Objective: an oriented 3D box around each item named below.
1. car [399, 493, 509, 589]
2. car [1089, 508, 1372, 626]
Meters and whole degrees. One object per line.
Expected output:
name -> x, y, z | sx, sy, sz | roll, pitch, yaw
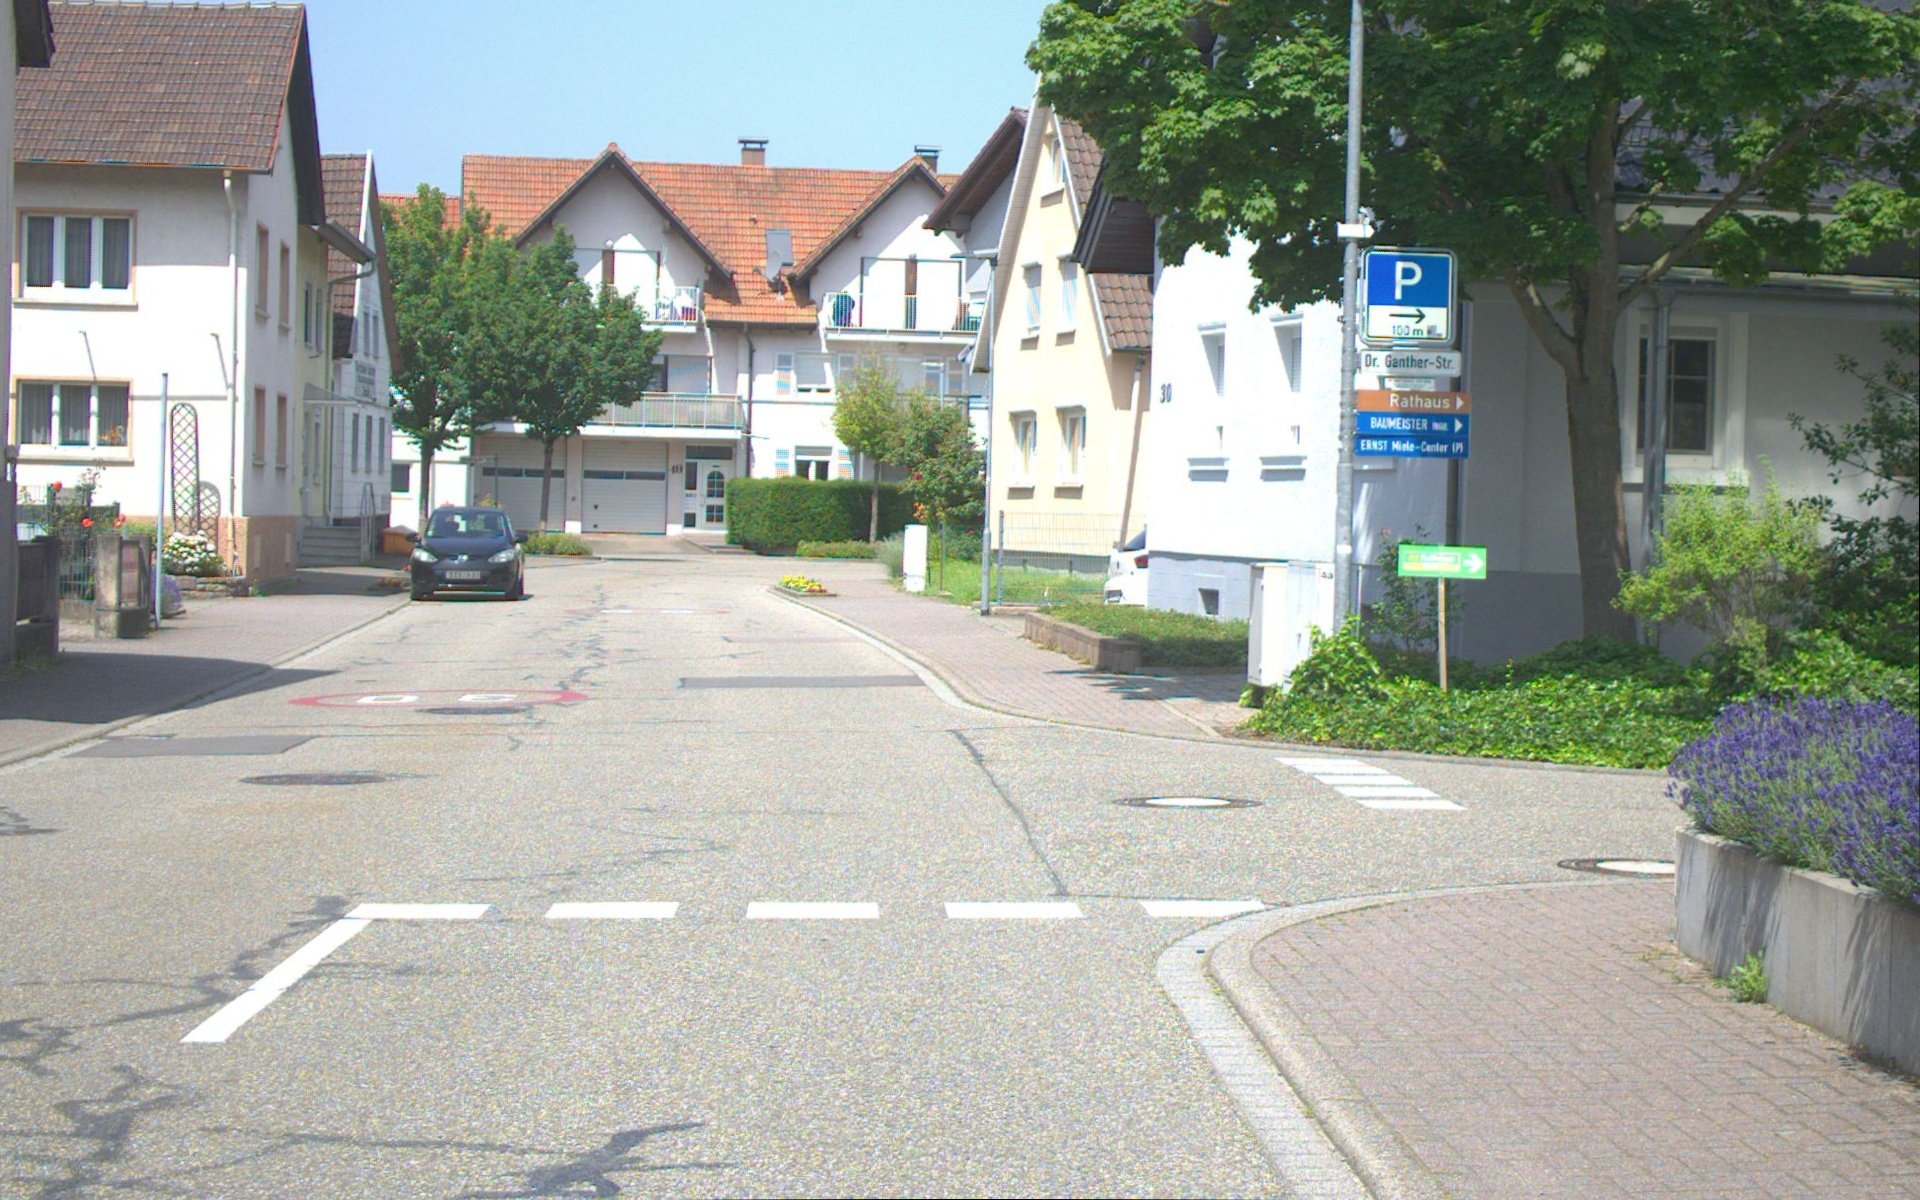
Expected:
car -> -8.075, -0.972, 55.056 | 1.626, 1.481, 4.001 | 0, 2, -7
car -> 3.187, -0.389, 40.685 | 3.042, 1.341, 1.423 | 0, 1, -12
